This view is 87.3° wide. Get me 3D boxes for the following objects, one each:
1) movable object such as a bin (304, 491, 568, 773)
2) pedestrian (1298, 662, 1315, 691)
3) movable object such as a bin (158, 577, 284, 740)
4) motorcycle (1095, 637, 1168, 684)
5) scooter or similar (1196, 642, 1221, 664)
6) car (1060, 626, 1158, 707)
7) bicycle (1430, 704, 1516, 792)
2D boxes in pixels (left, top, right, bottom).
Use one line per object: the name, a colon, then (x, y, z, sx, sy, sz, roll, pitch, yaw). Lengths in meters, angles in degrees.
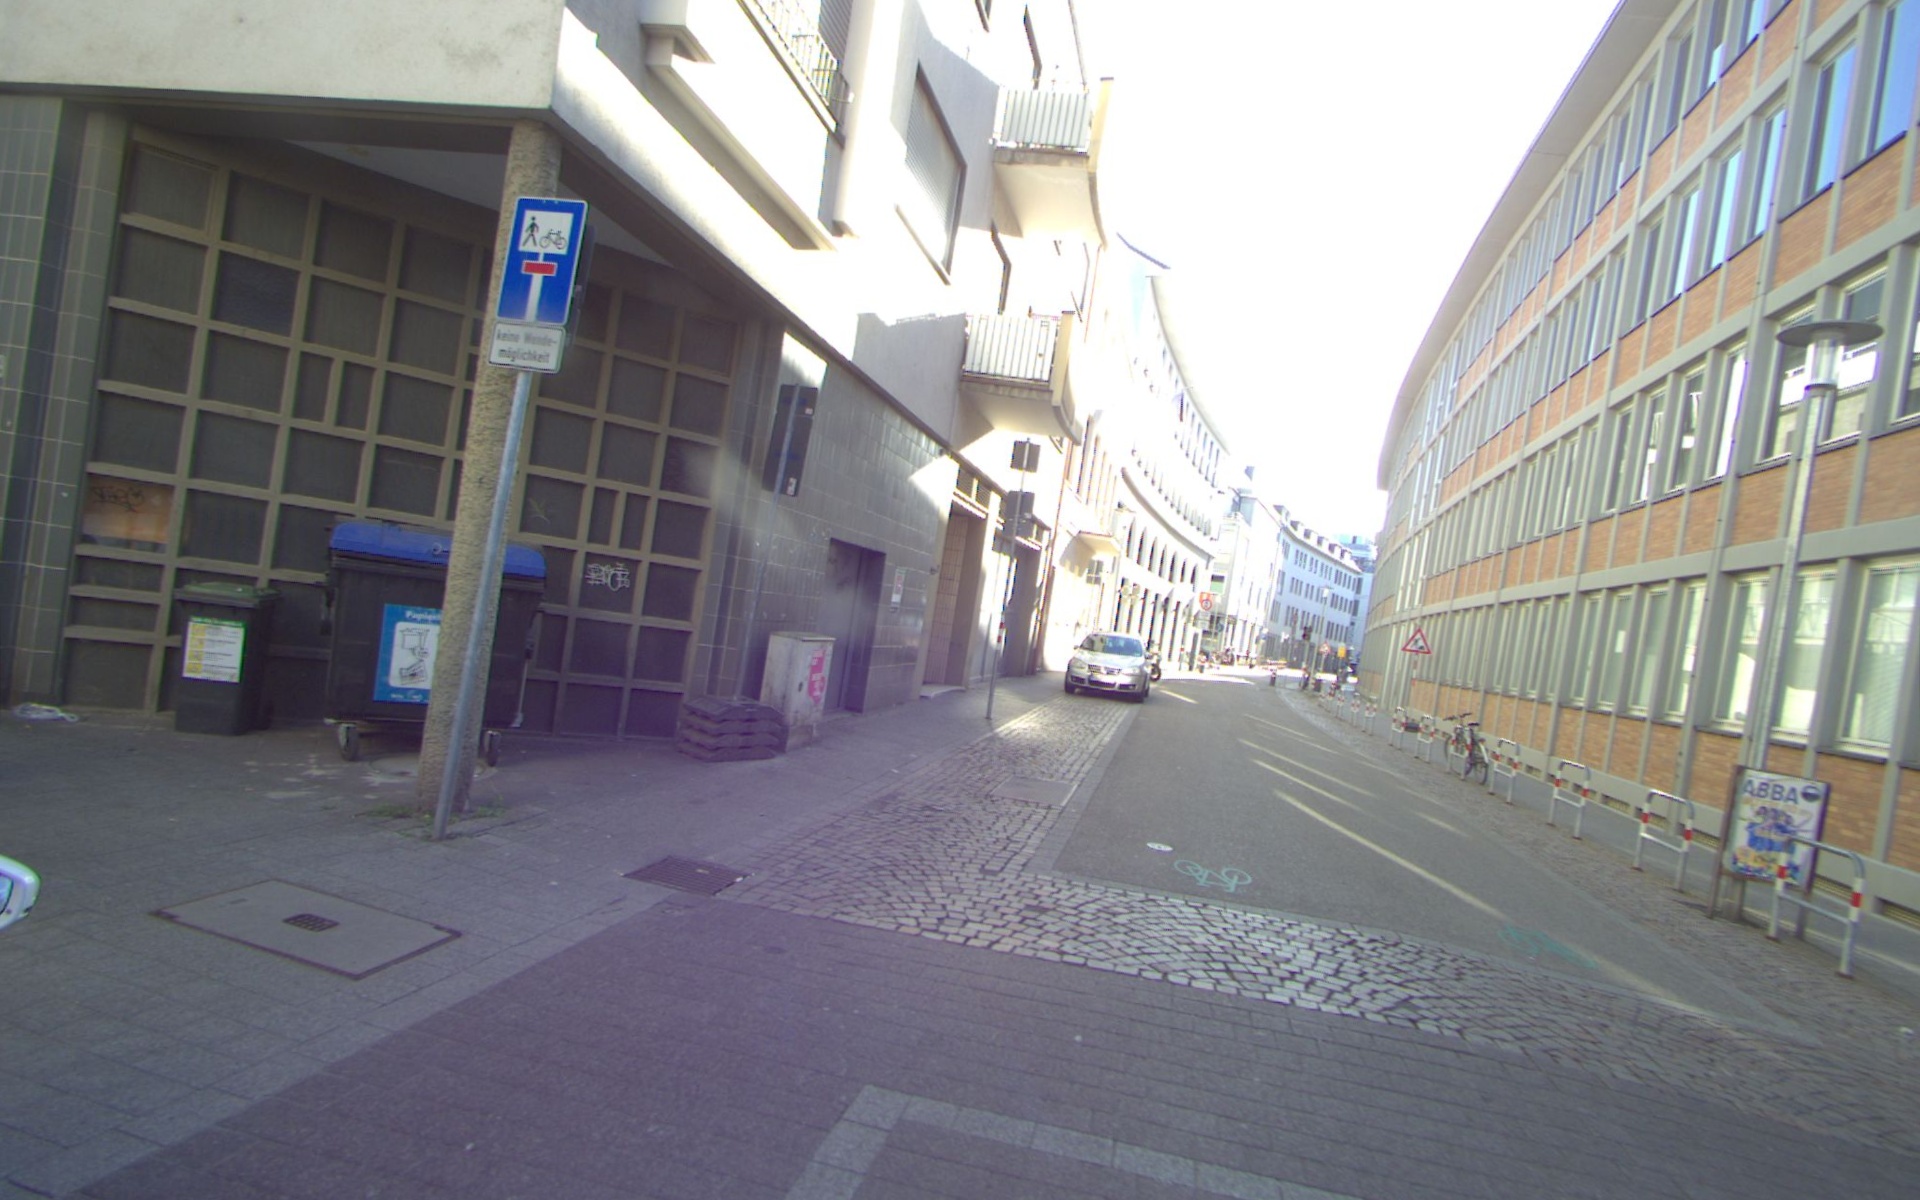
movable object such as a bin: (-3.500, 0.198, 6.715, 1.279, 1.609, 1.145, 8, 2, -32)
pedestrian: (18.330, 4.045, 53.233, 0.647, 1.459, 0.596, 9, 1, 15)
movable object such as a bin: (-4.665, 0.367, 6.379, 0.536, 0.935, 0.508, 7, 2, -34)
motorcycle: (5.751, 2.028, 33.852, 2.252, 1.261, 0.573, 8, 1, 34)
scooter or similar: (16.534, 3.516, 66.879, 0.525, 1.211, 1.949, 7, -1, -19)
car: (3.473, 1.444, 22.955, 1.737, 1.488, 3.814, 7, 0, 13)
bicycle: (8.418, 2.397, 16.592, 0.626, 1.130, 1.931, 9, 0, 12)
